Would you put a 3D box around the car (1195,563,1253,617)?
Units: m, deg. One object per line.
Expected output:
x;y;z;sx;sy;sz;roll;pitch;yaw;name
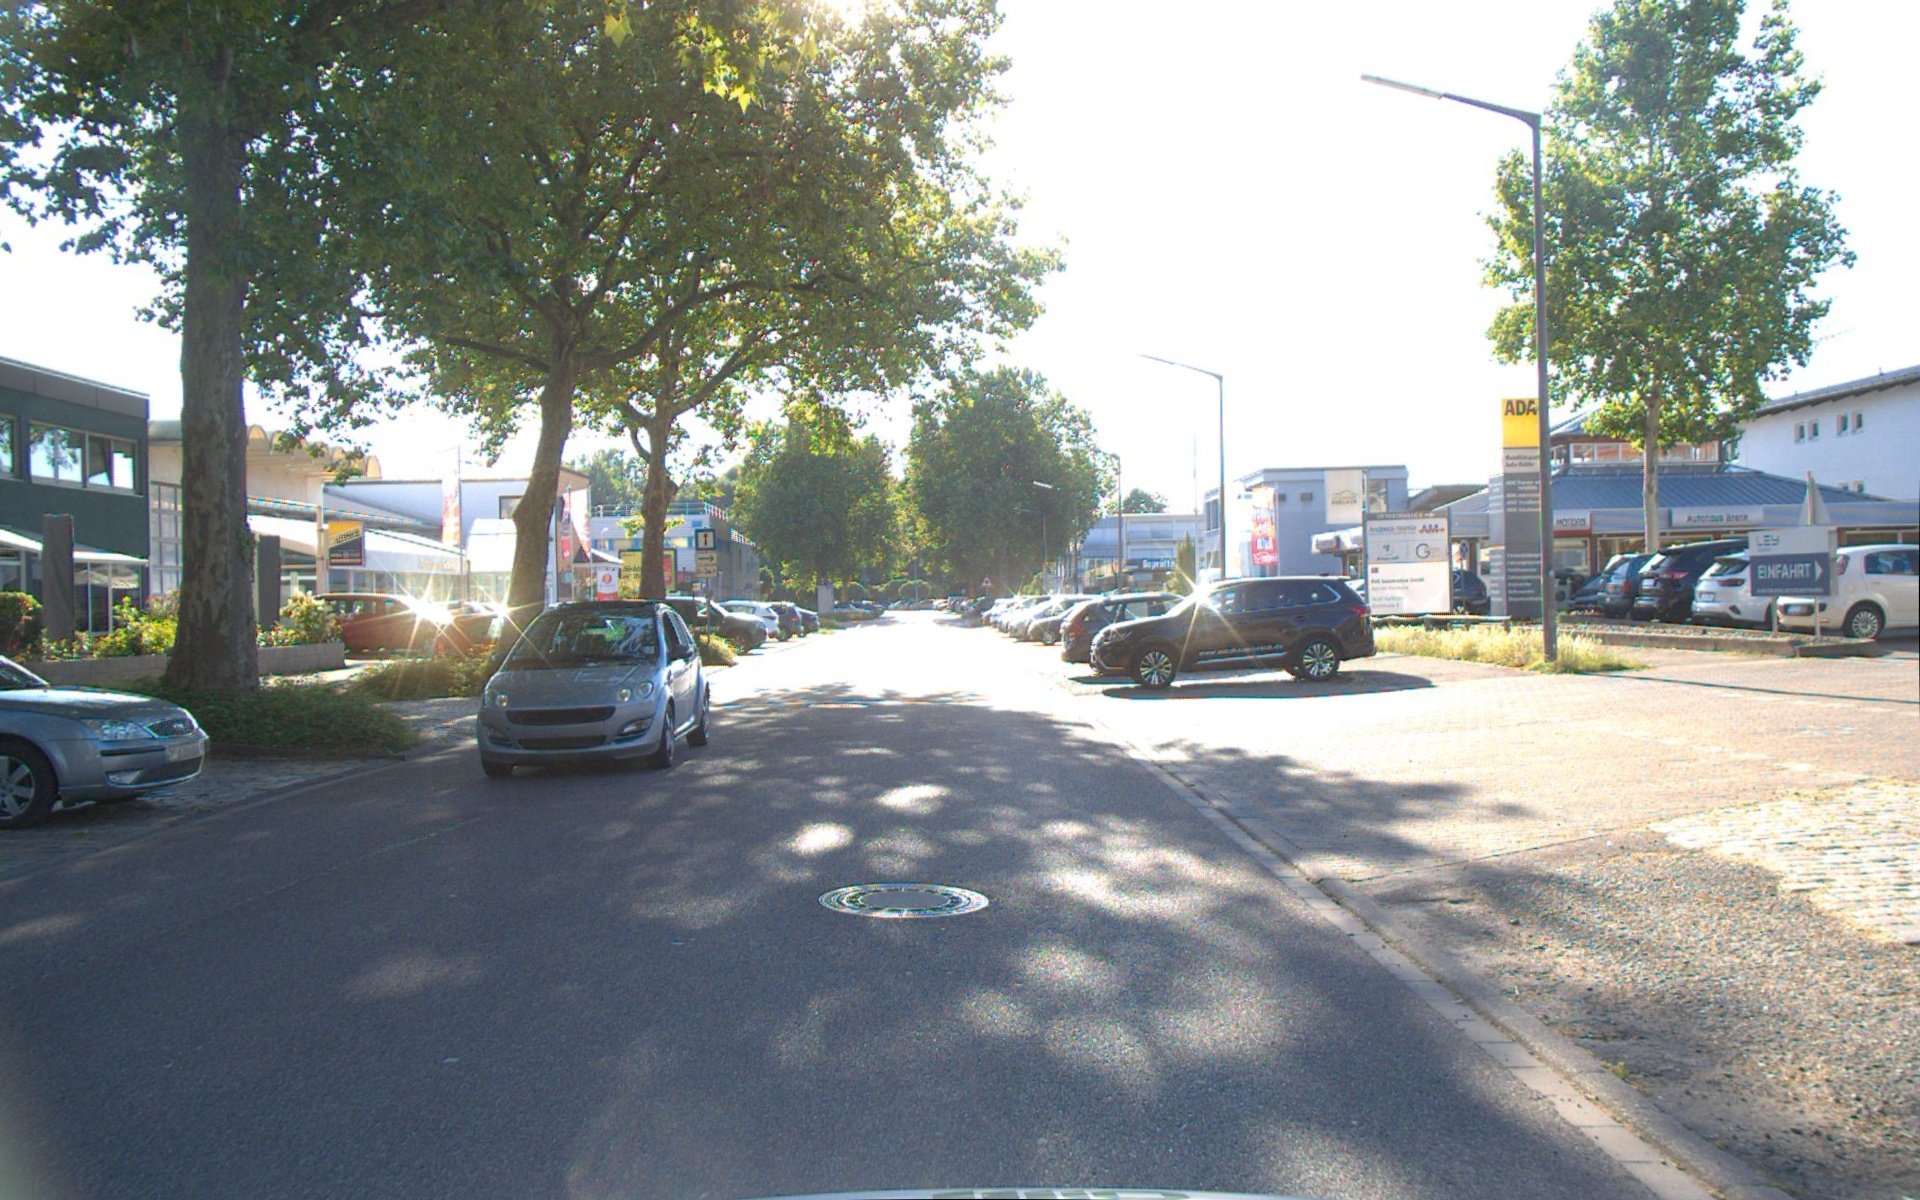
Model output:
13.540;-0.484;85.145;1.953;2.671;6.135;0;-1;-1;car

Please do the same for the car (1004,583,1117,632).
3.705;0.276;61.455;3.909;1.615;1.866;-3;0;-5;car

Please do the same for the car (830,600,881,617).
-9.065;0.771;143.313;4.330;1.427;1.997;0;-1;-6;car

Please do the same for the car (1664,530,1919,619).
15.199;-0.432;30.141;3.909;1.546;1.951;0;-1;-5;car

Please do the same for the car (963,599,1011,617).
2.236;0.662;138.478;3.906;1.440;1.826;-2;-1;-1;car

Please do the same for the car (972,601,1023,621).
2.948;0.852;131.146;3.906;1.440;1.999;-2;-1;-1;car

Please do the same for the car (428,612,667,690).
-8.082;0.992;32.705;4.209;1.472;1.999;0;-1;-2;car

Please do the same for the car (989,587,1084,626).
3.807;0.324;83.032;4.465;1.625;2.200;-4;-1;-4;car

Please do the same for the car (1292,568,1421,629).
13.492;-0.062;56.456;3.854;1.931;2.202;-1;2;-1;car

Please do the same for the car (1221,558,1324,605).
13.634;-0.786;72.338;4.060;1.802;2.000;-3;-1;-1;car

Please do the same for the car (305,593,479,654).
-17.420;0.721;50.878;4.650;1.851;1.999;0;-1;-3;car

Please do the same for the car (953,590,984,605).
1.036;-0.280;209.588;3.906;1.808;1.826;-2;-1;-1;car

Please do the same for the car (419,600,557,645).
-17.426;0.817;61.226;4.568;1.620;1.927;0;-1;-3;car

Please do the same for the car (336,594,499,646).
-17.562;0.653;53.719;4.619;1.662;1.999;0;-1;-3;car

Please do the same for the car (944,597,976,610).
0.037;0.468;206.541;3.906;1.440;1.826;-2;-1;-1;car

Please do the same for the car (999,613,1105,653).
3.806;1.378;68.616;4.160;1.633;1.743;0;-1;-6;car

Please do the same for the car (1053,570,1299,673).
4.227;0.424;32.896;4.509;1.641;1.999;-4;-1;-2;car

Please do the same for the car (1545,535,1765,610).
14.966;-0.562;35.738;3.909;1.546;1.998;0;-1;-5;car

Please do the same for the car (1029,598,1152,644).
4.268;0.682;54.360;3.904;1.319;1.784;-3;0;2;car

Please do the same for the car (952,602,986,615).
1.053;1.019;193.930;3.906;1.440;1.826;-2;-1;-1;car

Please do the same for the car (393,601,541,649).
-17.388;0.875;58.523;4.624;1.671;1.999;0;-1;-3;car

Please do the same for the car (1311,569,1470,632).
13.437;0.030;51.838;4.404;1.932;2.201;0;-1;-2;car

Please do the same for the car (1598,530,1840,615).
15.011;-0.522;32.854;3.909;1.623;1.998;0;-1;-5;car

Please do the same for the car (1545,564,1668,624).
19.982;-0.161;51.068;3.965;1.768;1.970;1;-1;-42;car

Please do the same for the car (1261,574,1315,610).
16.882;-0.388;85.336;1.953;1.830;3.999;0;-1;-1;car

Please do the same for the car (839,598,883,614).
-9.978;0.609;166.617;4.324;1.543;2.000;0;-1;0;car

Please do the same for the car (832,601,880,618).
-9.806;0.887;156.058;4.324;1.543;2.000;0;-1;0;car

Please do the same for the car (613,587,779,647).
-8.635;0.552;54.477;5.153;1.932;2.201;0;-1;-2;car

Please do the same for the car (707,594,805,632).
-9.003;0.582;73.359;4.147;1.684;2.200;0;-1;-4;car

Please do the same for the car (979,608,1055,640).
3.483;1.467;101.494;4.435;1.702;1.752;-3;0;-4;car

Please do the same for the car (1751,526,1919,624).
15.227;-0.374;26.766;3.909;1.523;1.998;0;-1;-5;car

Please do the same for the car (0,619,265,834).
-7.964;0.925;12.534;4.507;1.447;2.000;-1;0;-2;car

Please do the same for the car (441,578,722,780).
-3.447;0.678;15.768;1.801;1.598;3.801;-3;-1;-1;car

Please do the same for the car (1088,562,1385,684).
4.461;0.377;27.295;4.507;1.607;2.000;-4;-1;1;car

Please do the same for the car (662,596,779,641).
-9.036;0.699;62.737;4.217;1.685;2.200;0;-1;-4;car

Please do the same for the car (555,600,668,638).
-15.974;0.869;75.980;4.845;1.718;1.999;0;-1;-4;car
